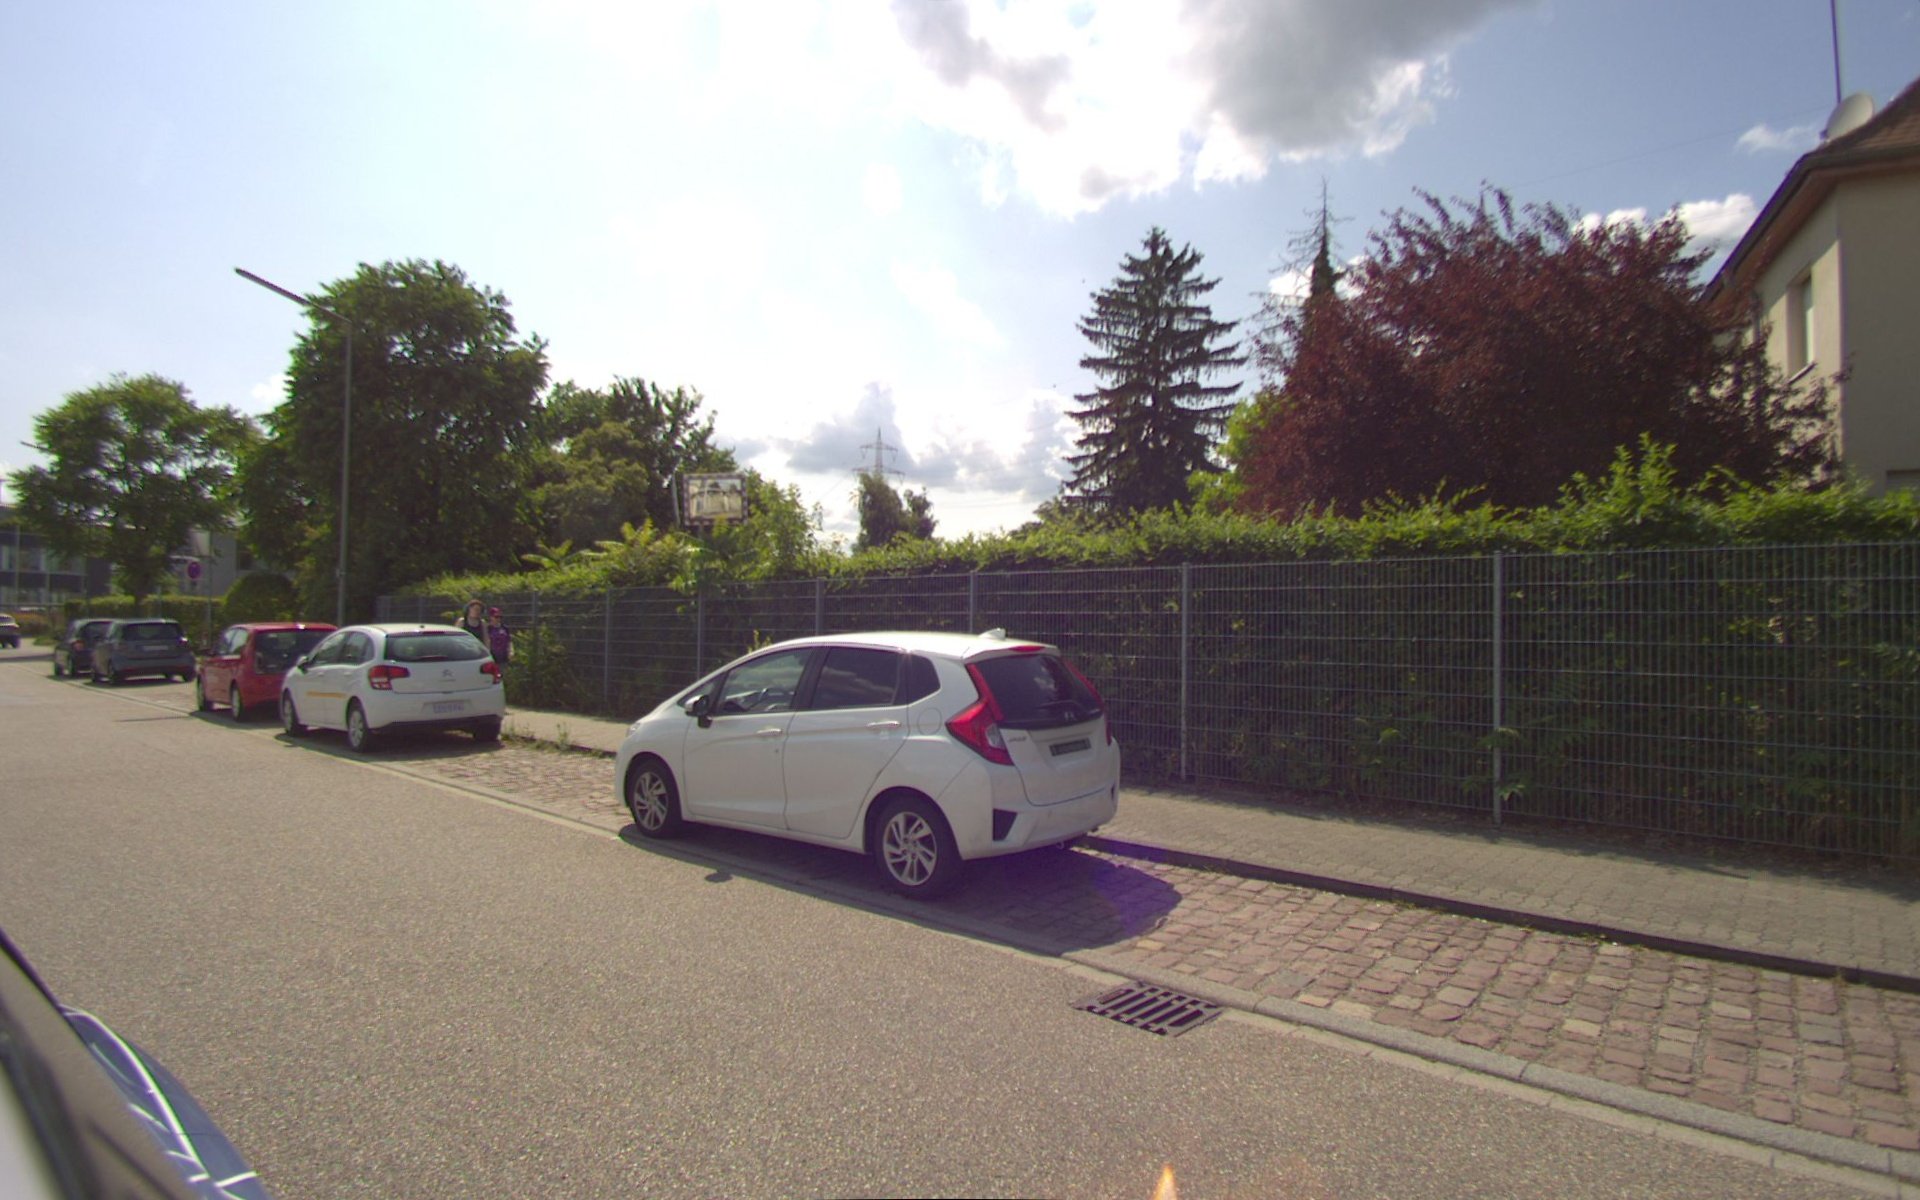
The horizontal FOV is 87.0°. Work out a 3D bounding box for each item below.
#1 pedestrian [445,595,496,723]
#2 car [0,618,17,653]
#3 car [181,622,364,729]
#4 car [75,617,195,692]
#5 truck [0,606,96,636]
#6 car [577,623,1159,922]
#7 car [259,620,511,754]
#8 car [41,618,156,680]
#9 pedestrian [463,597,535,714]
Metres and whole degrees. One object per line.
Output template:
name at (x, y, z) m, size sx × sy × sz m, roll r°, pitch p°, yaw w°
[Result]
pedestrian at (-7.535, 0.891, 15.580) m, size 0.677 × 1.908 × 0.446 m, roll 0°, pitch -2°, yaw 41°
car at (-45.998, 1.626, 47.562) m, size 4.471 × 1.586 × 1.741 m, roll 0°, pitch -1°, yaw 38°
car at (-11.247, 1.127, 16.471) m, size 3.743 × 1.478 × 1.648 m, roll 0°, pitch -1°, yaw 43°
car at (-20.158, 1.275, 24.696) m, size 3.270 × 1.658 × 1.634 m, roll -1°, pitch 0°, yaw 40°
truck at (-86.131, 2.025, 95.435) m, size 2.382 × 2.678 × 6.901 m, roll 0°, pitch -2°, yaw 15°
car at (-0.838, 0.942, 7.172) m, size 4.170 × 1.534 × 1.604 m, roll -1°, pitch -2°, yaw 39°
car at (-7.687, 1.033, 13.381) m, size 4.027 × 1.488 × 1.628 m, roll 0°, pitch -2°, yaw 41°
car at (-23.671, 1.287, 27.758) m, size 3.998 × 1.519 × 1.826 m, roll -1°, pitch 0°, yaw 41°
pedestrian at (-7.403, 0.877, 16.258) m, size 0.915 × 1.814 × 0.700 m, roll 0°, pitch -2°, yaw 41°
